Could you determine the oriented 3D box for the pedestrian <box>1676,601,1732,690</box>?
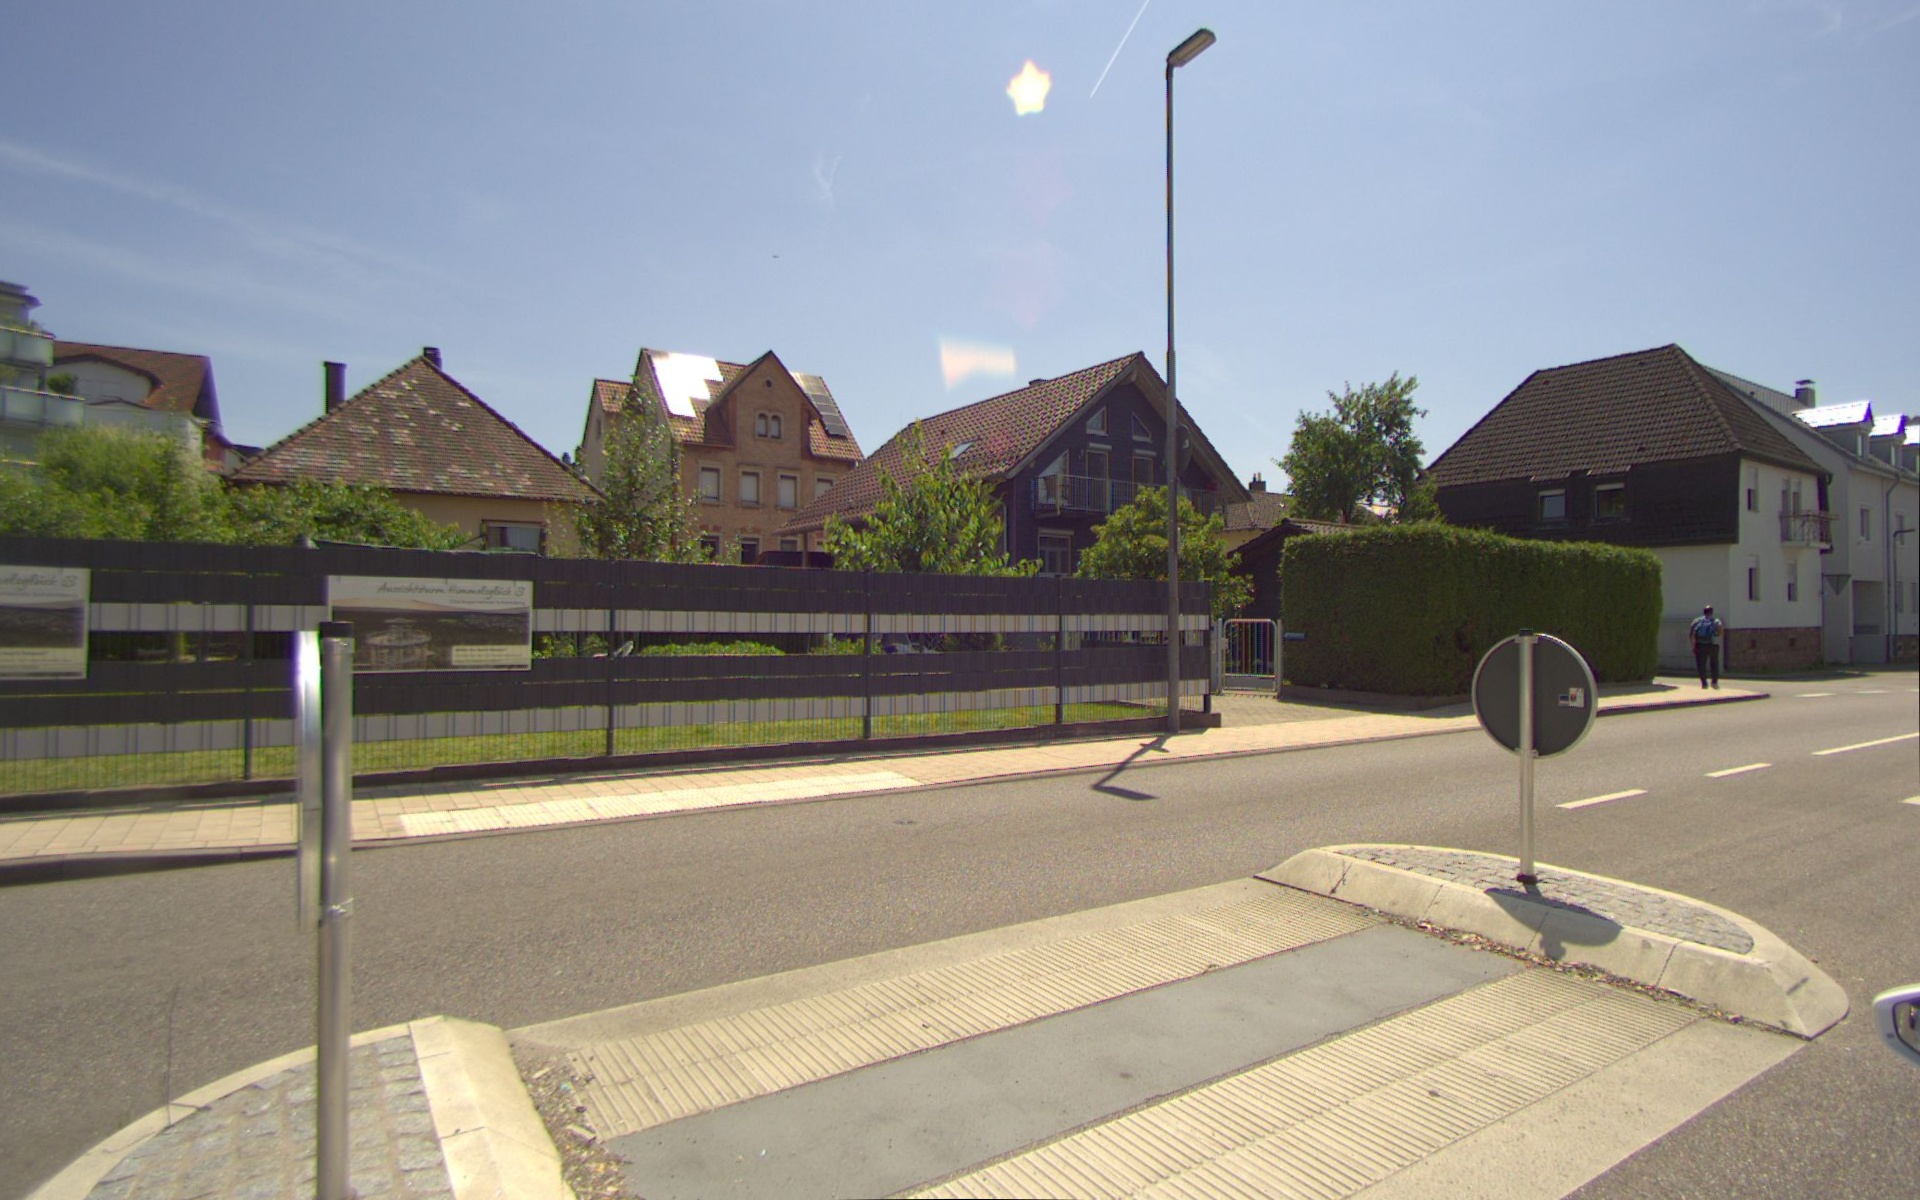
[{"bbox_3d":[15.929,0.954,21.499,0.890,1.847,0.707,2,0,-38],"label":"pedestrian"}]
